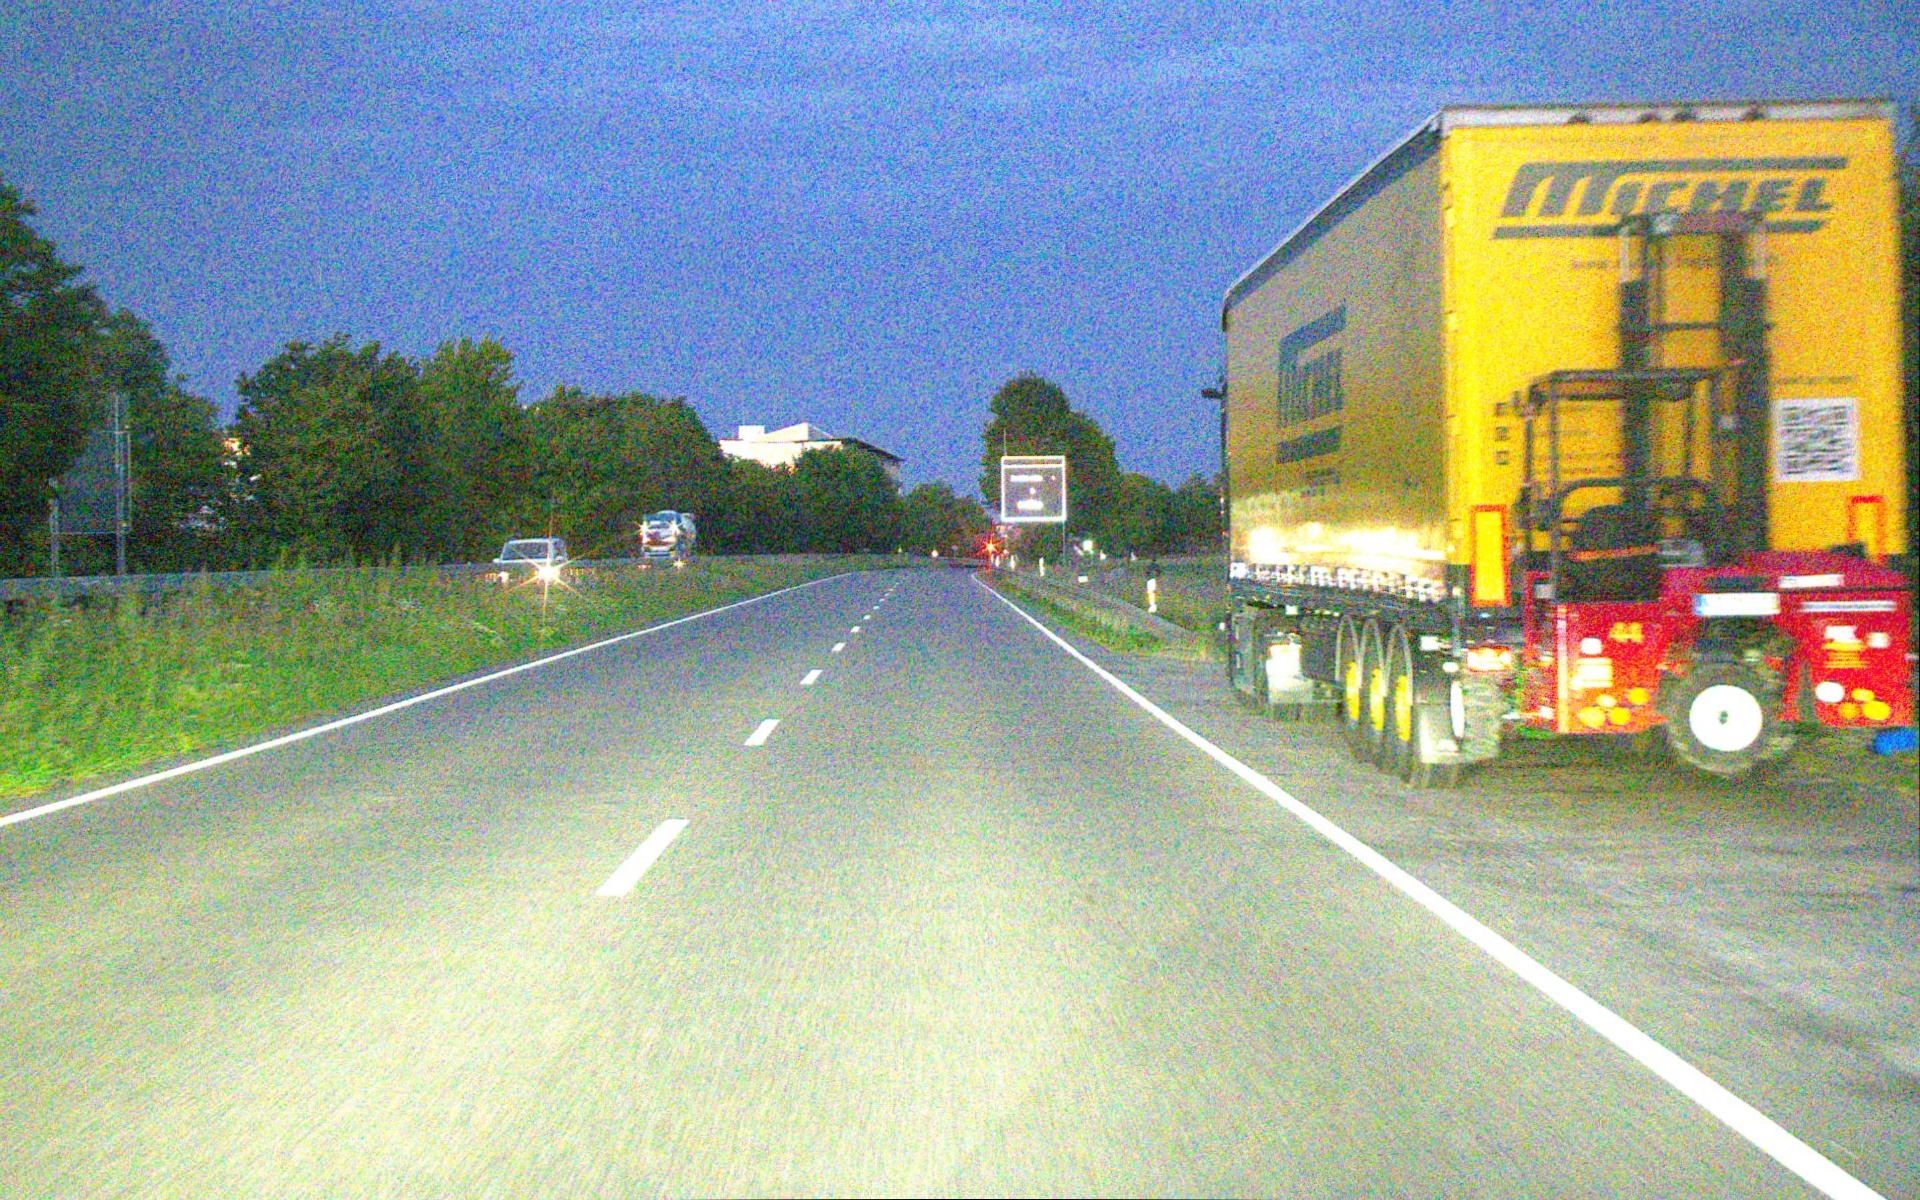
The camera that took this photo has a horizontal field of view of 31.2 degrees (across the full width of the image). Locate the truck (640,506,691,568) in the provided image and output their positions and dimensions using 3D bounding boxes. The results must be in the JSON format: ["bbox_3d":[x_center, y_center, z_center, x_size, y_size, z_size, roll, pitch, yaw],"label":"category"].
[{"bbox_3d":[-16.815,-3.569,196.683,2.219,3.433,6.715,1,1,1],"label":"truck"}]

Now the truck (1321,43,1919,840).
[{"bbox_3d":[3.807,-0.895,20.770,2.579,4.057,6.130,1,1,0],"label":"truck"}]

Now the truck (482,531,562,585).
[{"bbox_3d":[-13.873,-1.327,109.109,2.016,1.647,4.774,1,1,-1],"label":"truck"}]

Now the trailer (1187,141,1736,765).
[{"bbox_3d":[3.732,-1.083,29.100,2.622,4.090,12.938,0,1,-1],"label":"trailer"}]
